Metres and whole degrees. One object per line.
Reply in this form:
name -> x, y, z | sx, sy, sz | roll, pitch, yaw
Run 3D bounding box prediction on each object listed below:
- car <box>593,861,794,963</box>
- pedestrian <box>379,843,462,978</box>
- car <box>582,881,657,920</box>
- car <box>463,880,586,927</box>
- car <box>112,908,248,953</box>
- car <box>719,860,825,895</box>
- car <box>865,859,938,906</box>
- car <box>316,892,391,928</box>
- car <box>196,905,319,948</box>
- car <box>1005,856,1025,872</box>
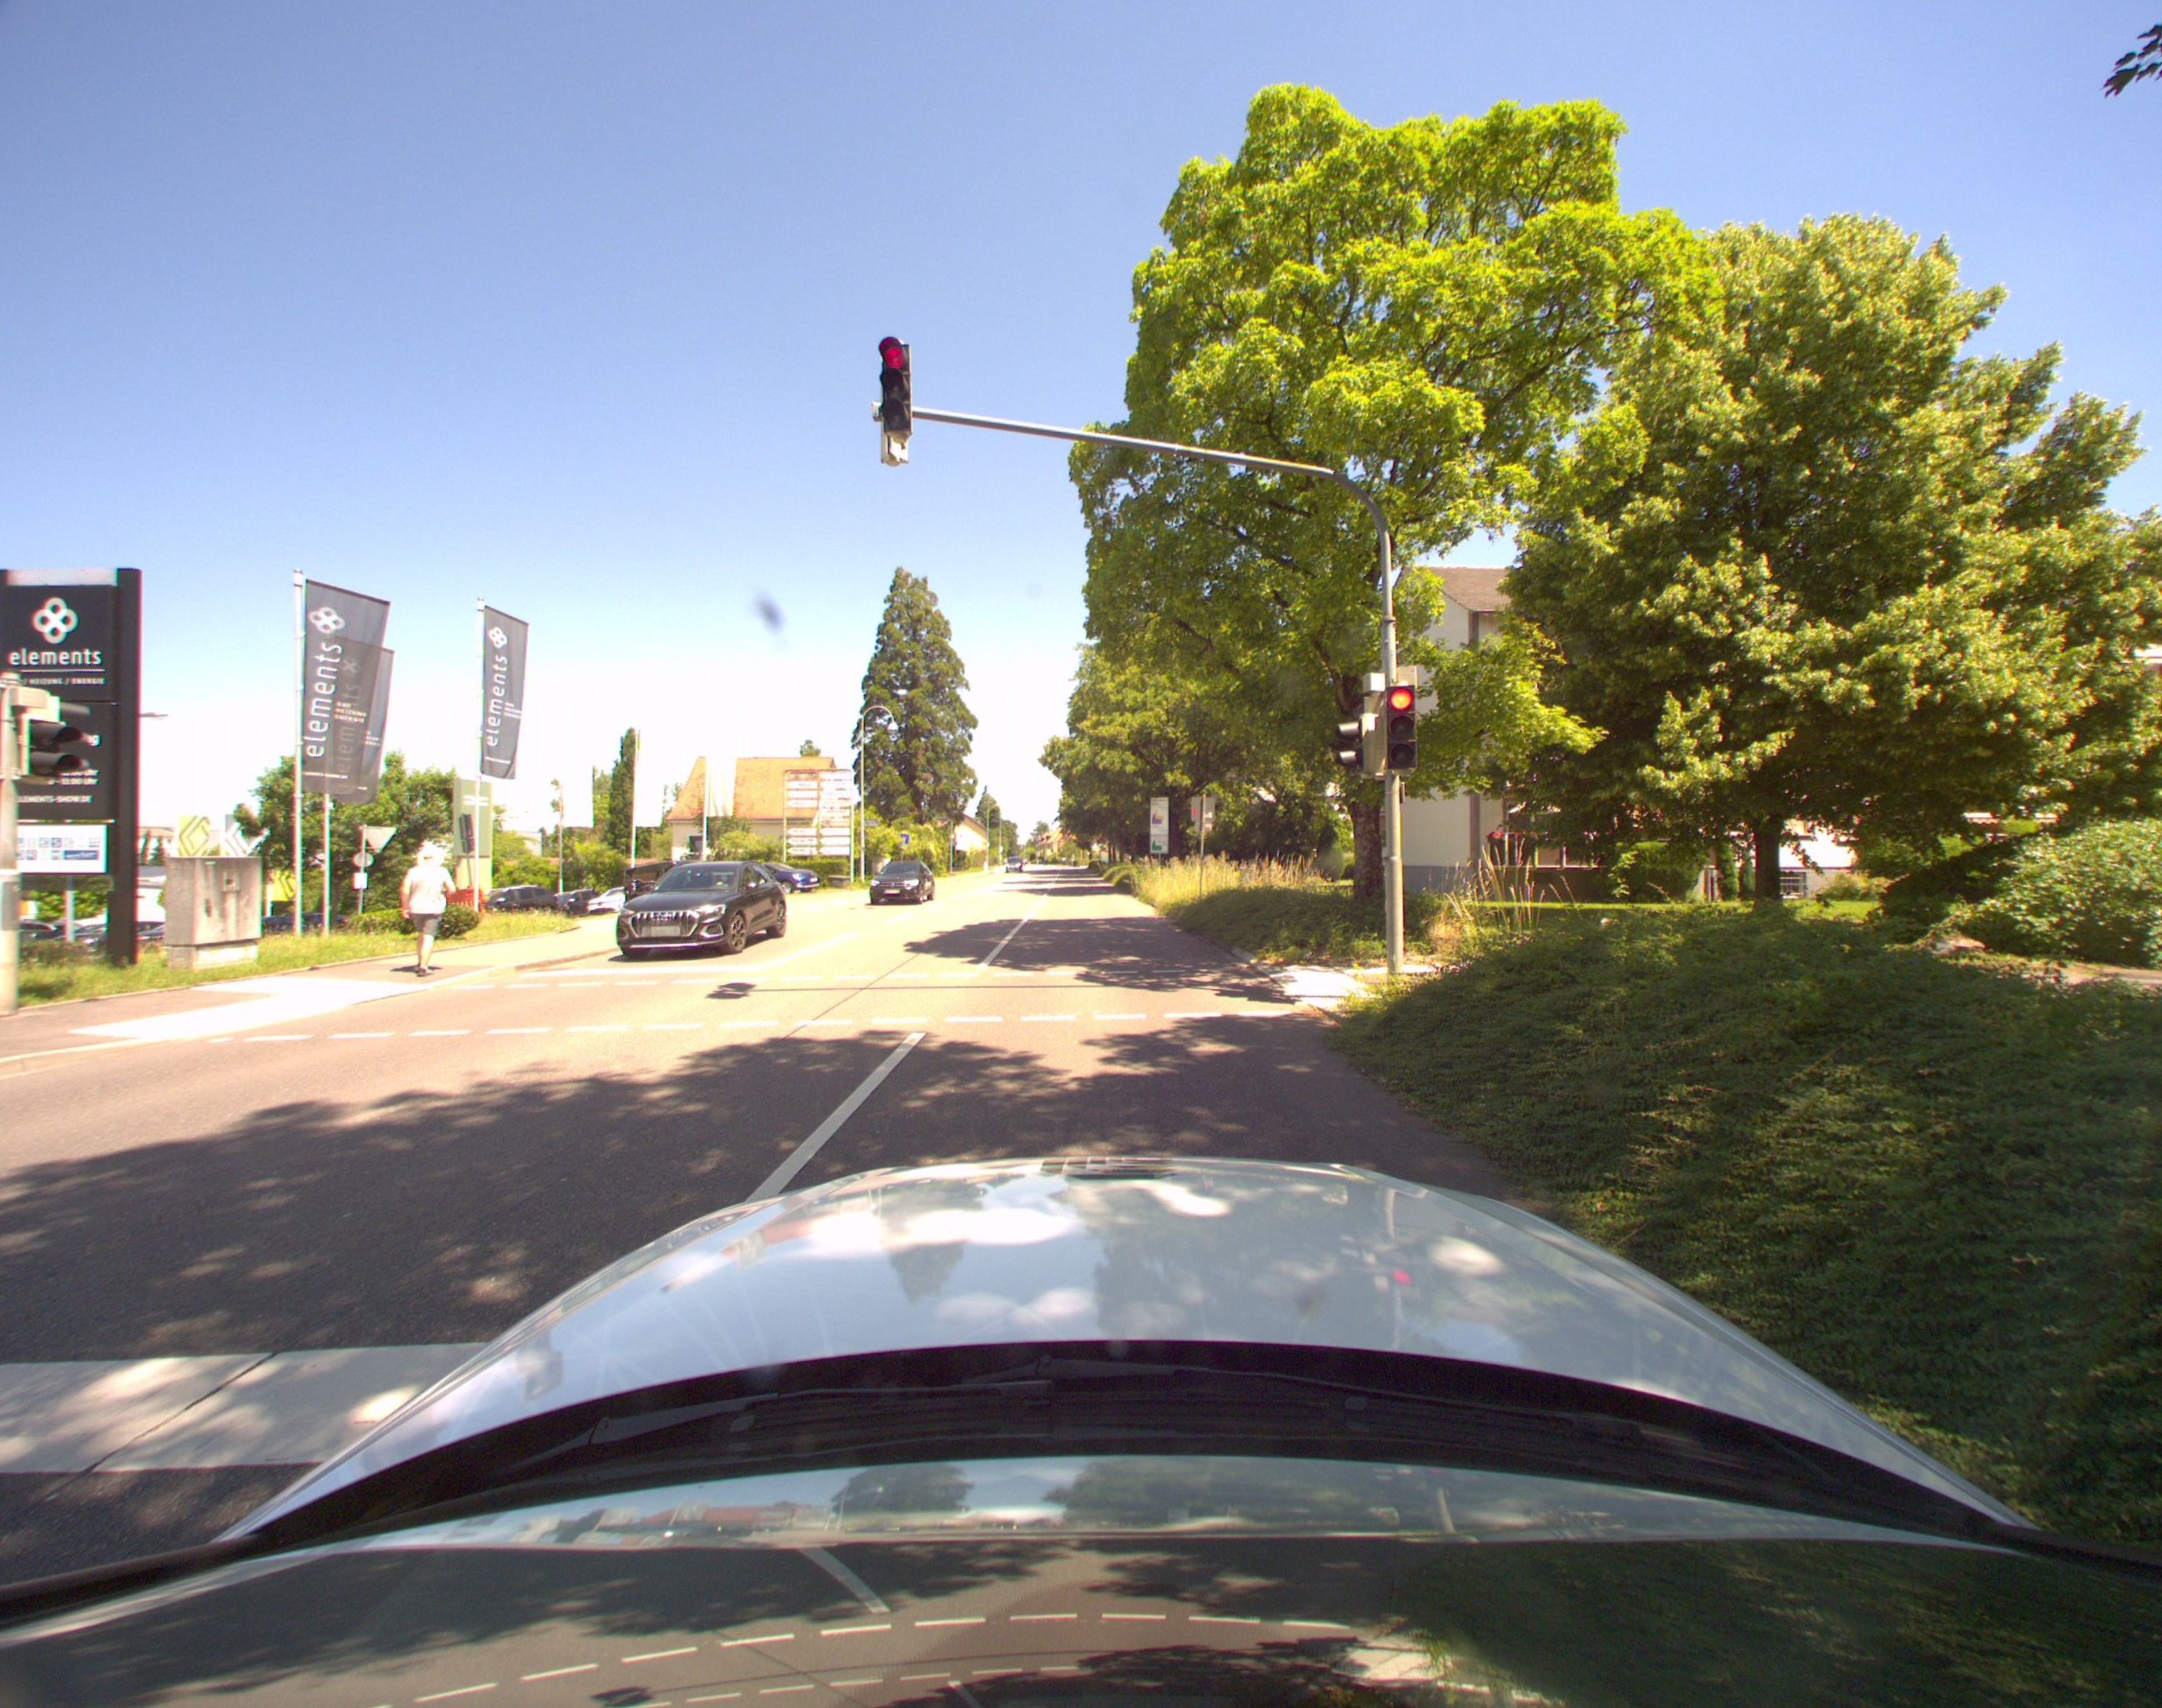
car -> -6.889, 0.927, 15.050 | 1.923, 1.555, 4.295 | -1, 0, -5
pedestrian -> -8.964, 0.736, 11.062 | 0.538, 1.761, 0.706 | -1, -1, 28
car -> -23.234, 2.290, 41.174 | 1.806, 1.722, 4.081 | 0, 0, -6
car -> -23.512, 2.031, 34.593 | 1.795, 1.721, 4.106 | 0, 0, 16
car -> -37.219, 3.122, 33.807 | 1.754, 1.486, 3.983 | -1, 0, -12
car -> -13.906, 1.052, 36.737 | 4.109, 1.504, 1.782 | -1, 0, 10
car -> -6.354, 0.966, 29.252 | 1.864, 1.507, 4.049 | -1, 0, -2
car -> -40.237, 3.043, 45.150 | 1.816, 1.722, 4.059 | 0, 0, -22
car -> -34.094, 2.961, 33.854 | 1.648, 1.415, 3.854 | -1, 0, -10
car -> -7.451, 1.127, 92.428 | 1.804, 1.762, 4.571 | 0, 0, 1
